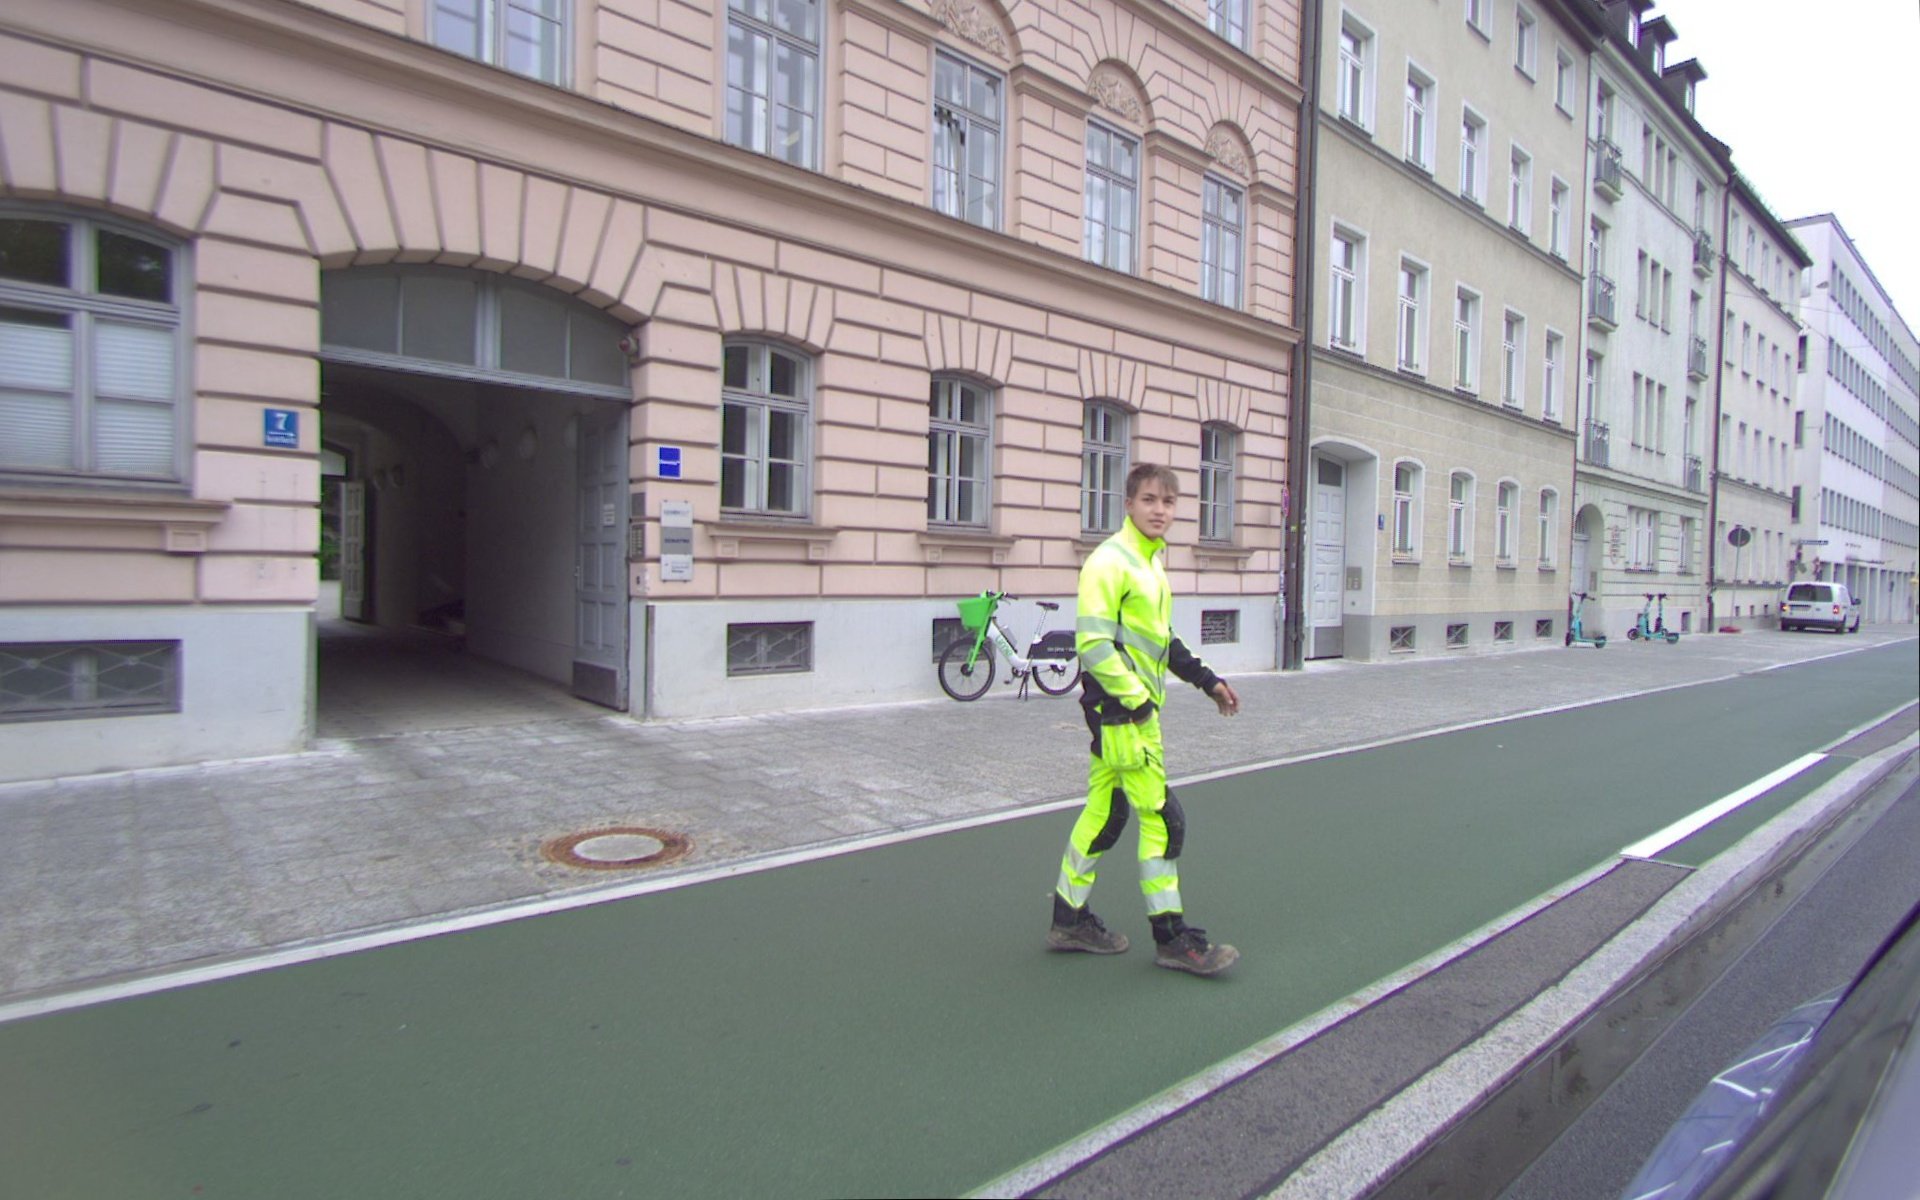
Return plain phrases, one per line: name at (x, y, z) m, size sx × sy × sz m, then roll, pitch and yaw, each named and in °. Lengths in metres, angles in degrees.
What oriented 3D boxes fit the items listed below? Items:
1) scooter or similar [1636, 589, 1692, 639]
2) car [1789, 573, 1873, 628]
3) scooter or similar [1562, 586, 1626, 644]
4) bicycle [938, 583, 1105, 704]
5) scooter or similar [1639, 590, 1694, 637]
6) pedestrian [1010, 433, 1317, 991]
scooter or similar at (17.961, 0.355, 25.831) m, size 1.064 × 1.207 × 0.451 m, roll 2°, pitch 1°, yaw 20°
car at (31.588, -0.004, 36.670) m, size 3.931 × 1.855 × 1.764 m, roll 0°, pitch 2°, yaw -42°
scooter or similar at (14.311, 0.339, 22.861) m, size 1.055 × 1.260 × 0.554 m, roll 1°, pitch 1°, yaw -6°
bicycle at (0.661, 0.439, 10.699) m, size 1.690 × 1.191 × 0.558 m, roll 1°, pitch 2°, yaw -27°
scooter or similar at (18.770, 0.353, 26.906) m, size 1.059 × 1.207 × 0.436 m, roll 2°, pitch 1°, yaw 10°
pedestrian at (0.686, 0.360, 3.729) m, size 0.974 × 1.825 × 0.815 m, roll 0°, pitch 1°, yaw 2°
